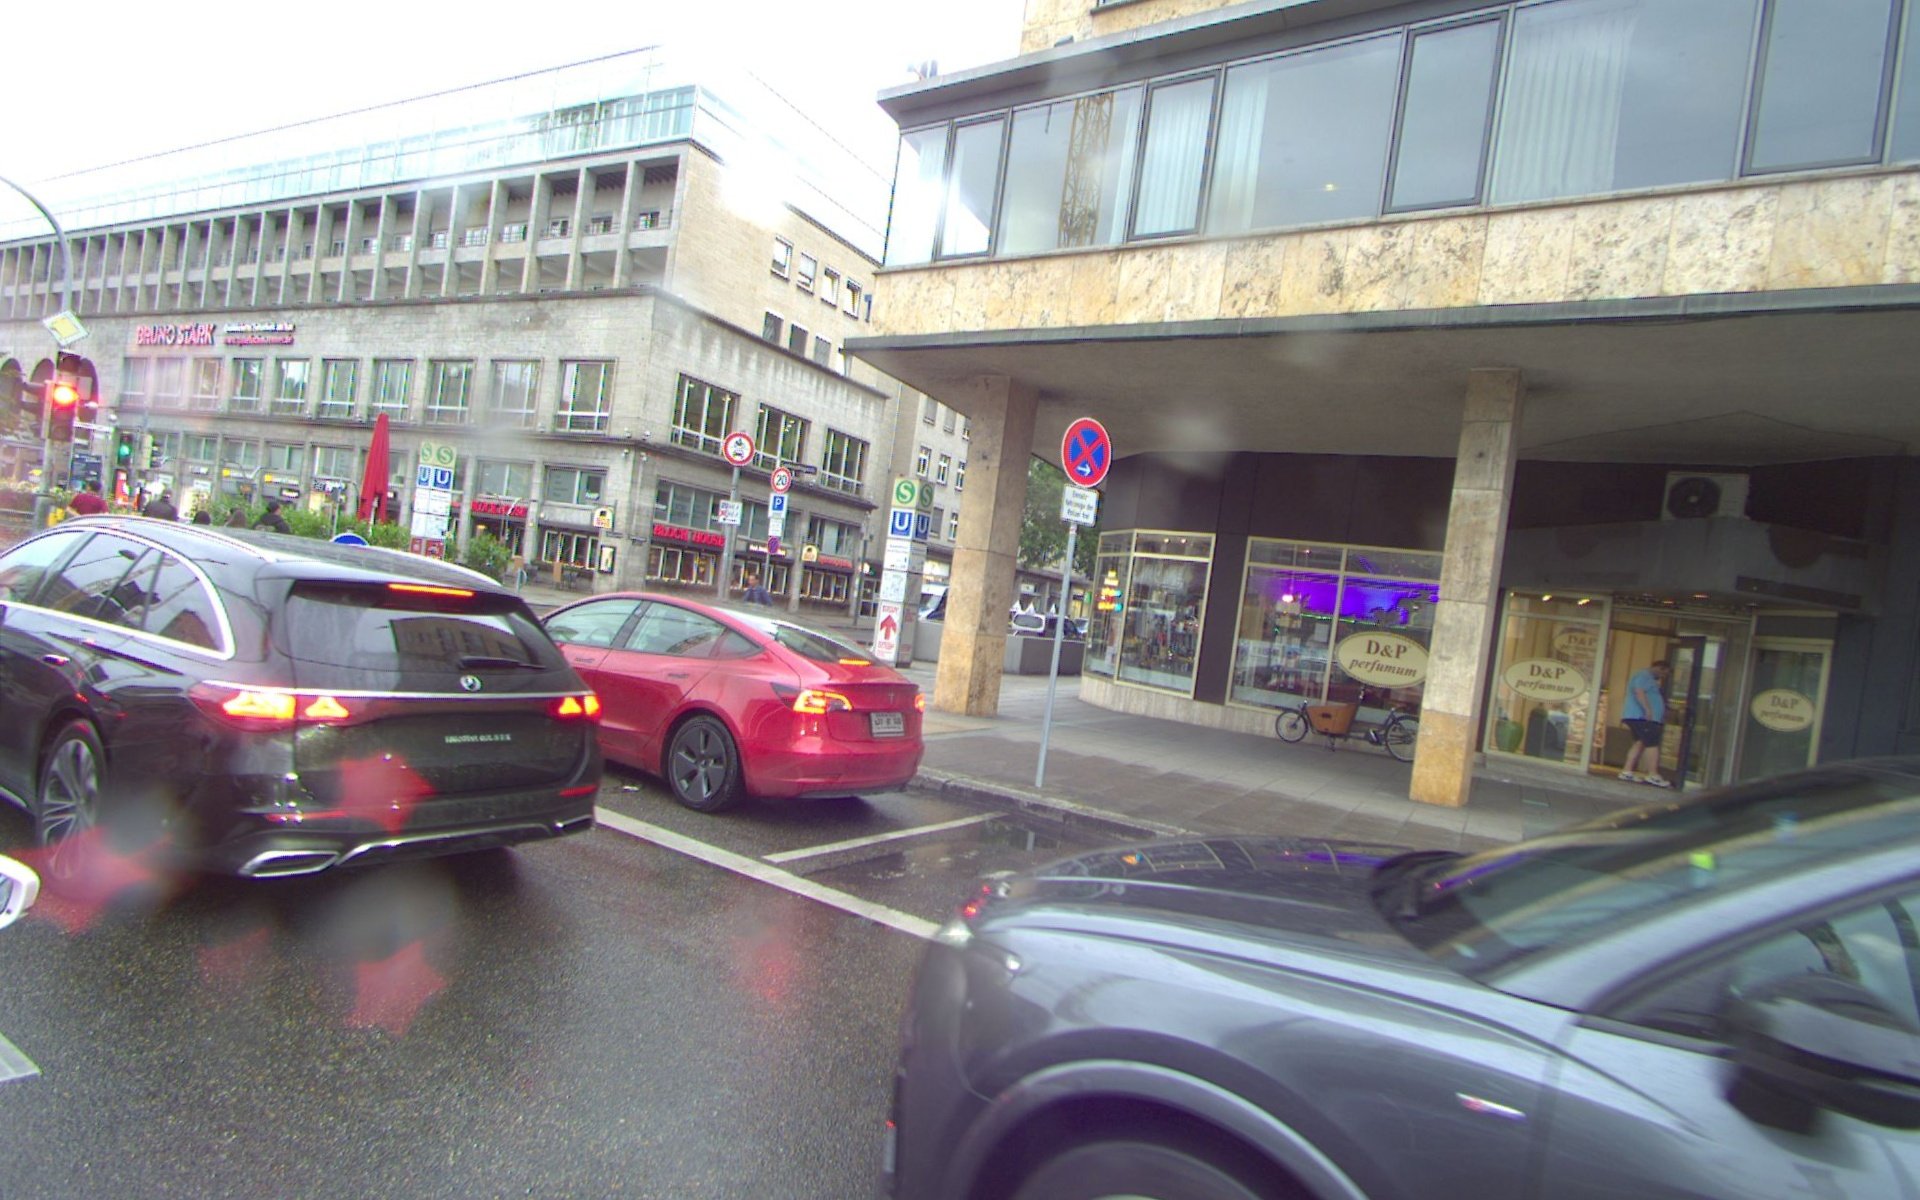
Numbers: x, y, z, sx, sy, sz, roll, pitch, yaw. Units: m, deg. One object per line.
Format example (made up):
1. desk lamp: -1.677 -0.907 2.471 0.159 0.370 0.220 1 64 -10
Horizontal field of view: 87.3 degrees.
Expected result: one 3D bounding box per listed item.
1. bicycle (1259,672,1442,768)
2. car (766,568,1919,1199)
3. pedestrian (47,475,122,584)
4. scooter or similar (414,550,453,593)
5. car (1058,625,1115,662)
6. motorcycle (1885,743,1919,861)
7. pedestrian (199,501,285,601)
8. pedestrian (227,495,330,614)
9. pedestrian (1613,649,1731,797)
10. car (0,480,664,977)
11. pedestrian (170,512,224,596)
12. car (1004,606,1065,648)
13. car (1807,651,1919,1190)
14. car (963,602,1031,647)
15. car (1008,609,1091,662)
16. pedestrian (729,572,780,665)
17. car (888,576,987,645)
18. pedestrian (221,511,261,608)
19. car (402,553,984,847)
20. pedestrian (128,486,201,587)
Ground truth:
1. bicycle: 5.920 1.806 15.349 2.431 1.058 0.657 6 -1 32
2. car: 1.949 0.984 1.735 4.271 1.519 1.882 6 -2 32
3. pedestrian: -15.227 -1.204 17.517 0.561 1.772 0.678 7 -1 -15
4. scooter or similar: -16.362 -0.876 31.264 1.000 1.203 0.291 7 -1 13
5. car: 8.919 3.086 70.493 1.967 2.065 4.831 7 -2 31
6. motorcycle: 11.146 2.278 10.485 2.074 1.232 0.567 6 -2 40
7. pedestrian: -12.903 -0.872 18.089 0.884 1.645 0.795 7 -1 28
8. pedestrian: -10.959 -0.707 16.189 0.642 1.774 1.097 7 2 29
9. pedestrian: 9.724 1.666 13.741 1.119 1.811 0.798 6 -1 39
10. car: -3.861 0.319 5.169 4.552 1.519 1.797 6 -2 32
11. pedestrian: -14.135 -0.845 18.646 0.627 1.444 0.485 8 -1 -36
12. car: 4.716 1.724 62.964 1.966 2.065 4.483 7 -2 29
13. car: 5.969 1.422 3.002 4.853 1.942 1.878 6 -2 31
14. car: 2.200 1.469 58.414 1.966 2.065 4.557 7 -2 29
15. car: 4.241 1.693 46.801 1.966 1.995 4.638 7 -1 29
16. pedestrian: -4.184 0.374 20.445 0.768 1.777 0.503 8 -1 -15
17. car: -1.036 0.619 51.255 1.965 2.792 6.185 7 -2 28
18. pedestrian: -13.577 -0.768 18.997 0.479 1.774 0.659 4 2 -38
19. car: -2.263 0.656 8.154 4.451 1.503 1.878 6 -2 31
20. pedestrian: -14.688 -1.163 18.581 0.458 1.737 0.757 7 -1 28
